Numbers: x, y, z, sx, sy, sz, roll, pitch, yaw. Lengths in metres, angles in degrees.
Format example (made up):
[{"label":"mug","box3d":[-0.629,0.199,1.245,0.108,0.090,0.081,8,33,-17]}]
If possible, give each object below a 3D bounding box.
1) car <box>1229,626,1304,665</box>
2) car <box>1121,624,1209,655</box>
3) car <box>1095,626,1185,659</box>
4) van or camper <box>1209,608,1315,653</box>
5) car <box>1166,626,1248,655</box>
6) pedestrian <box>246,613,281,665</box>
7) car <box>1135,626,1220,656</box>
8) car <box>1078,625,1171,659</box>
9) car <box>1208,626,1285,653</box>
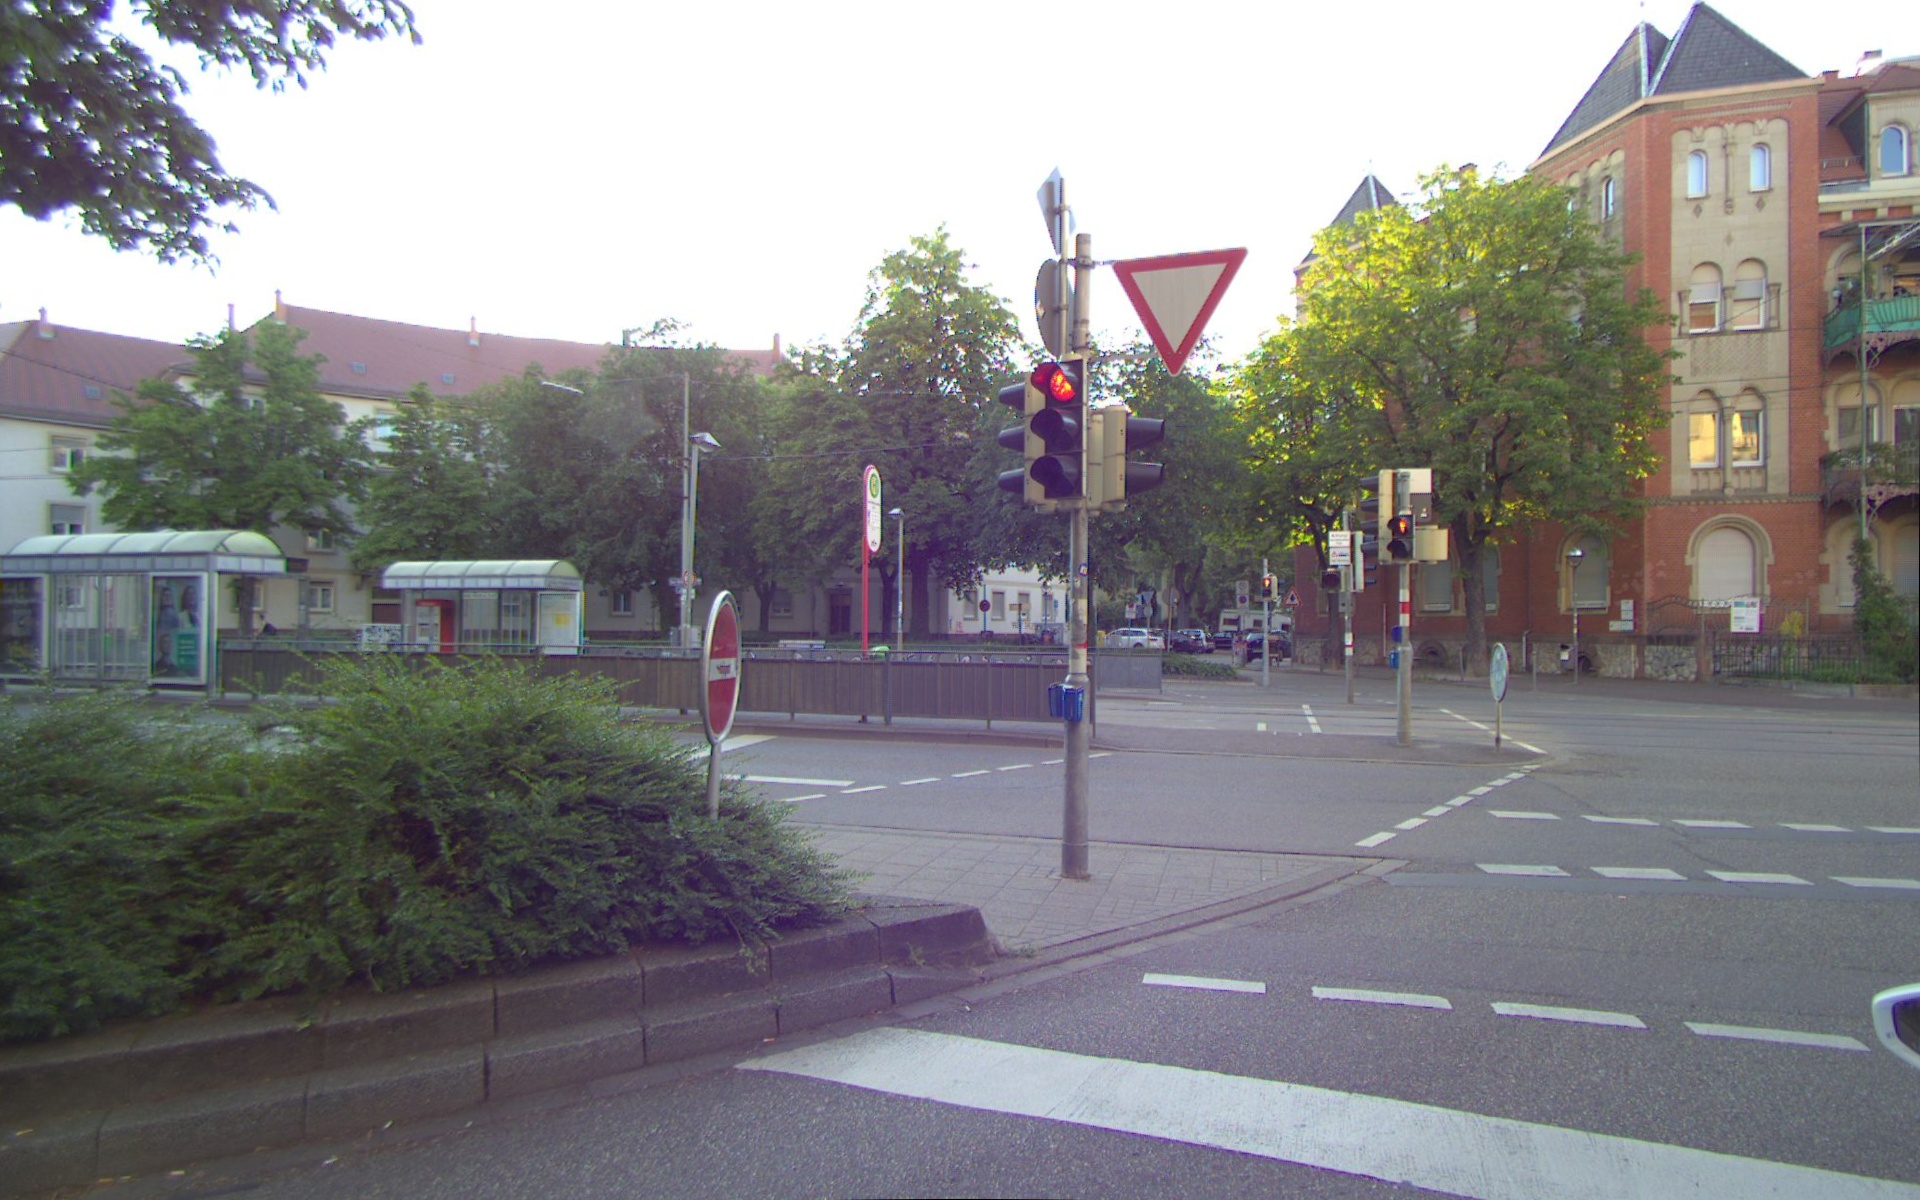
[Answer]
[{"label":"car","box3d":[14.866,2.173,48.503,1.968,1.726,4.702,1,-1,37]},{"label":"car","box3d":[12.519,2.379,61.410,4.883,1.726,1.994,1,-1,35]},{"label":"car","box3d":[10.718,2.494,59.823,4.883,1.726,1.994,1,-1,35]},{"label":"van or camper","box3d":[22.873,2.278,76.265,7.266,3.124,2.665,1,-1,35]},{"label":"car","box3d":[16.227,2.622,66.047,4.883,1.726,1.994,1,-1,35]},{"label":"pedestrian","box3d":[-29.138,1.626,42.062,1.047,2.113,1.007,1,-2,-28]},{"label":"car","box3d":[13.868,2.597,64.172,4.883,1.726,1.994,1,-1,35]},{"label":"car","box3d":[9.485,2.386,57.963,4.883,1.726,1.994,1,-1,35]},{"label":"car","box3d":[20.372,2.805,71.569,4.883,1.726,1.994,1,-1,35]}]
